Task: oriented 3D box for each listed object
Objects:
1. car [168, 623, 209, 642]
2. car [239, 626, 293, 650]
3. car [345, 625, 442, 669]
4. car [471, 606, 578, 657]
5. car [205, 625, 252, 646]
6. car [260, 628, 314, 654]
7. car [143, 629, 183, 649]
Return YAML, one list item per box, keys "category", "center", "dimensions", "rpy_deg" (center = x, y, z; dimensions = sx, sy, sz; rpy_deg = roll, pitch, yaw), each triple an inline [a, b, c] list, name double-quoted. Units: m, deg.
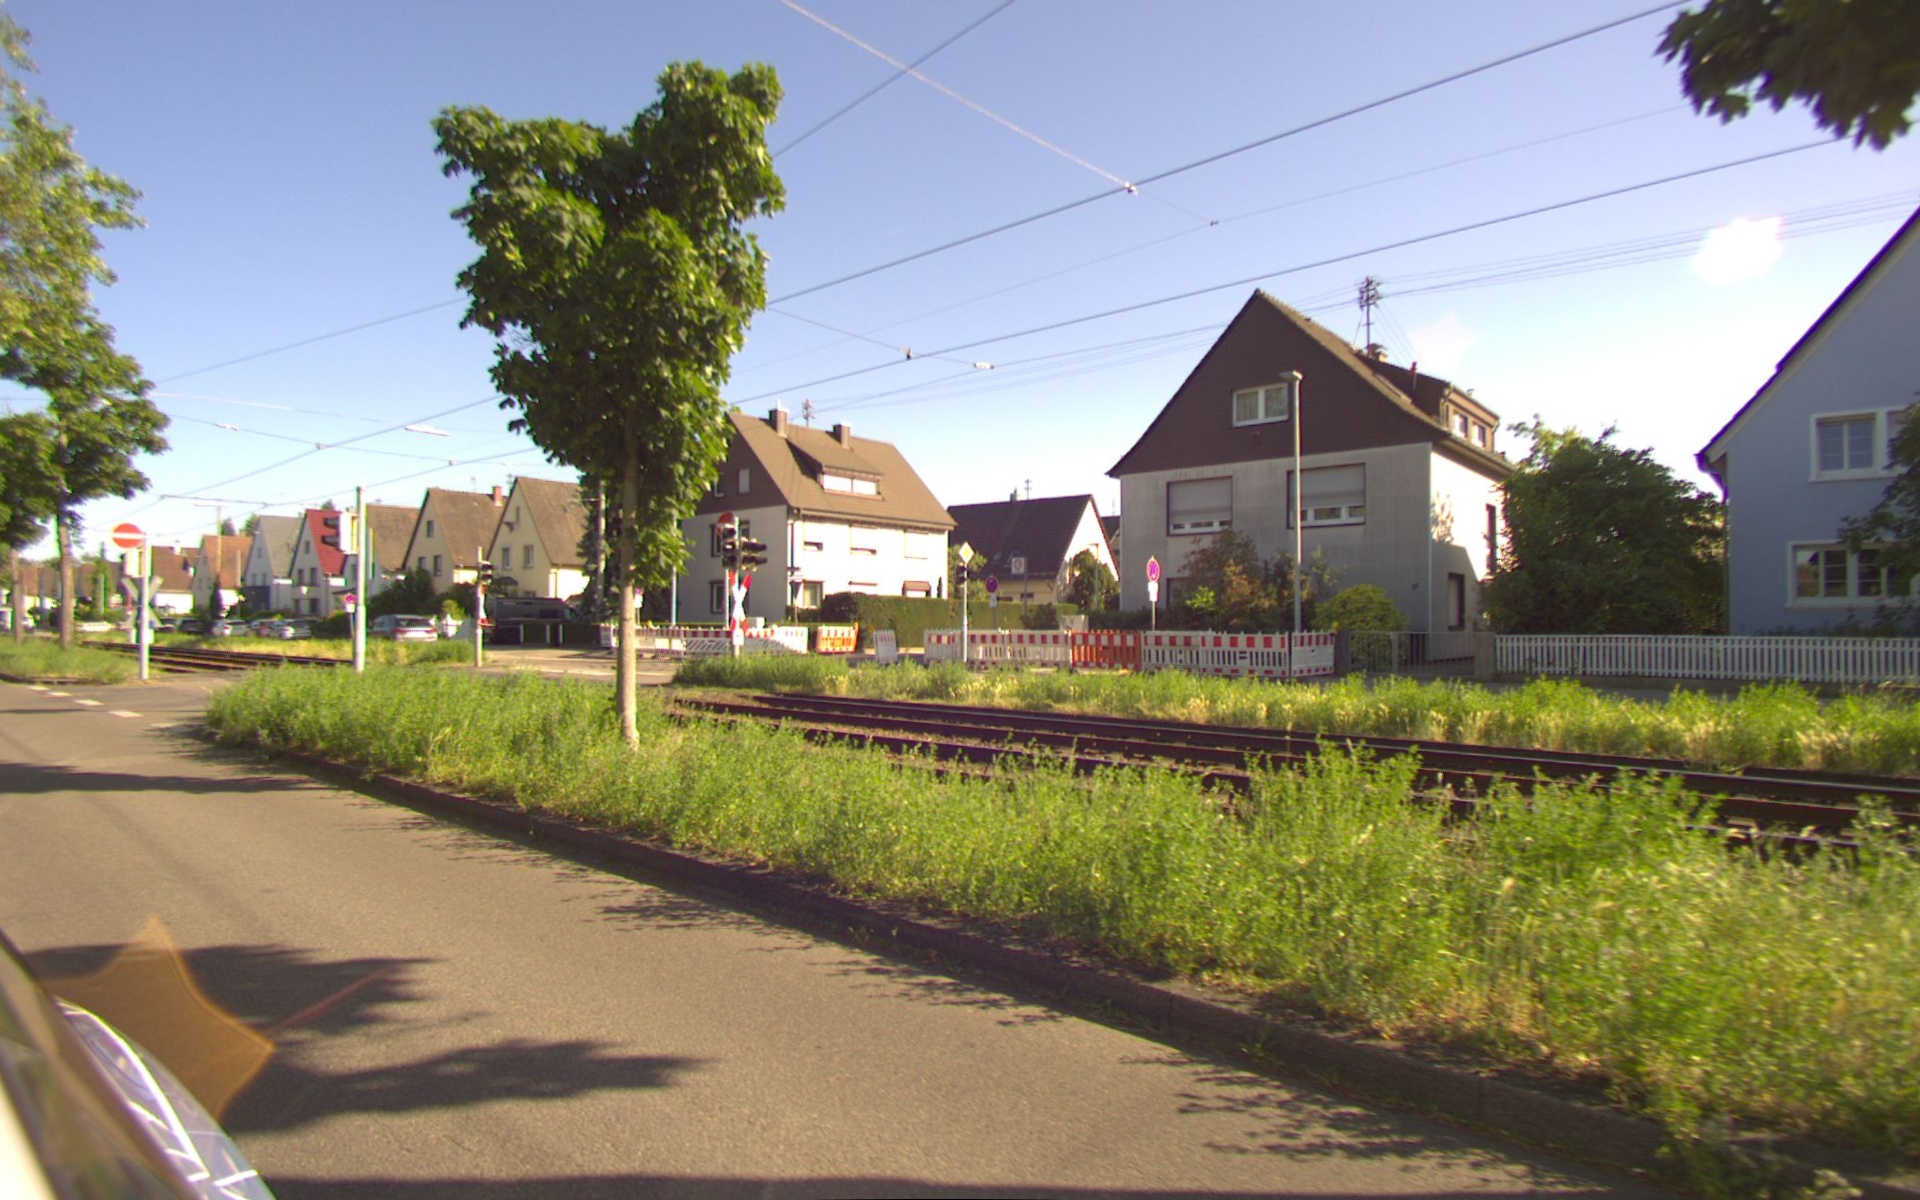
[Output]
- category: "car"
  center: [-63.726, 2.689, 83.577]
  dimensions: [4.254, 1.506, 1.906]
  rpy_deg: [-1, 0, 41]
- category: "car"
  center: [-46.769, 2.531, 68.154]
  dimensions: [4.125, 1.460, 1.973]
  rpy_deg: [-1, 2, 41]
- category: "car"
  center: [-22.729, 1.828, 40.536]
  dimensions: [4.470, 1.616, 1.973]
  rpy_deg: [-1, 0, 41]
- category: "car"
  center: [-23.785, 1.711, 55.371]
  dimensions: [2.101, 2.645, 4.976]
  rpy_deg: [-2, -2, 41]
- category: "car"
  center: [-53.597, 2.599, 74.119]
  dimensions: [4.410, 1.437, 1.972]
  rpy_deg: [-1, 0, 43]
- category: "car"
  center: [-43.264, 2.605, 65.044]
  dimensions: [4.054, 1.565, 1.926]
  rpy_deg: [-1, 0, 41]
- category: "car"
  center: [-70.288, 3.414, 89.228]
  dimensions: [4.388, 1.726, 1.973]
  rpy_deg: [-1, 0, 41]
